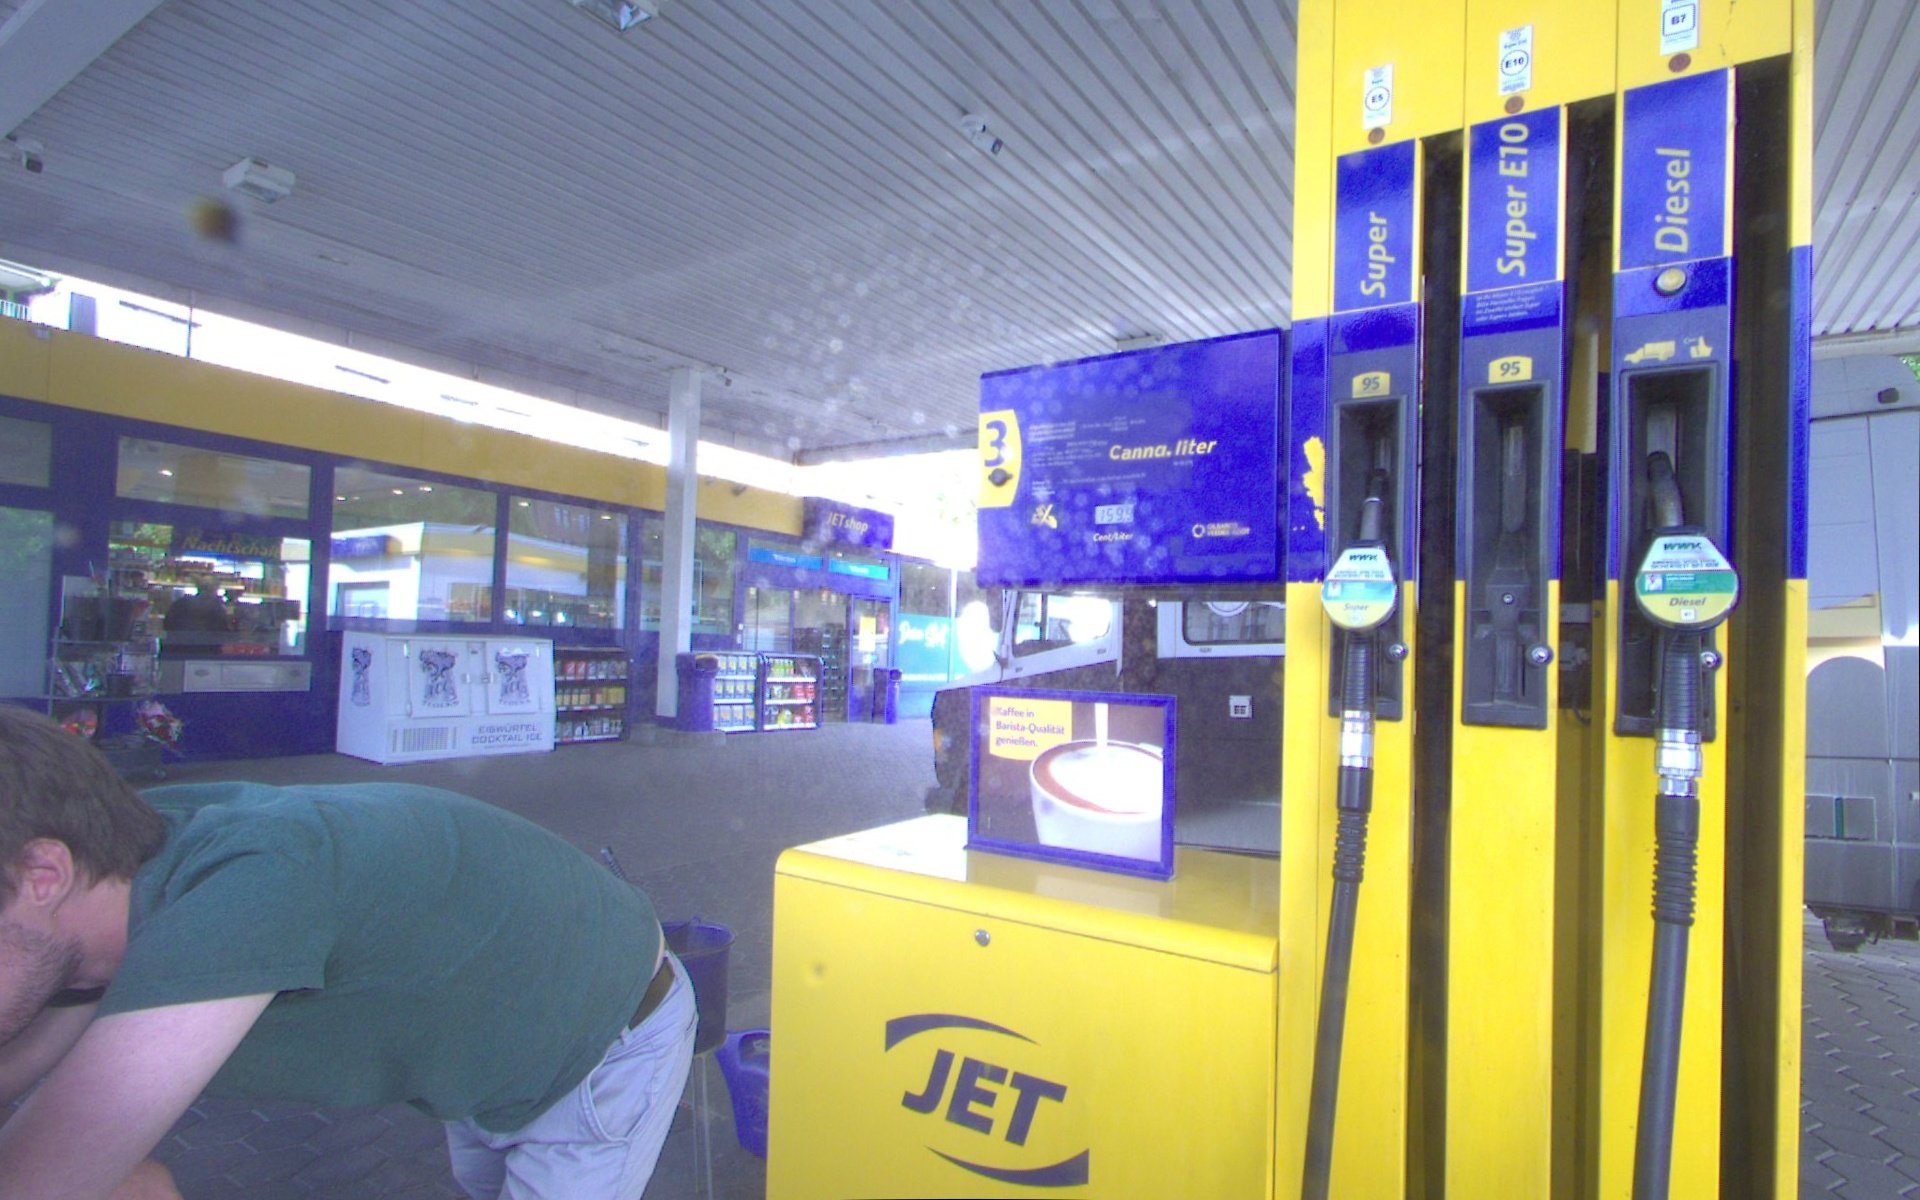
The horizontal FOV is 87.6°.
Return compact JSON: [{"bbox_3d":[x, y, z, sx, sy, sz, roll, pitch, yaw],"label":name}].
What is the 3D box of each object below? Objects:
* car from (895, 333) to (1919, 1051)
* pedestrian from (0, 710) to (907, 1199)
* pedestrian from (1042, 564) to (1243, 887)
[{"bbox_3d":[2.385,0.407,6.017,5.219,2.724,2.250,0,-3,34],"label":"car"},{"bbox_3d":[-0.538,0.804,1.072,0.664,1.298,0.749,-1,-1,31],"label":"pedestrian"},{"bbox_3d":[1.153,0.719,6.220,0.965,1.785,0.976,-1,-1,29],"label":"pedestrian"}]
